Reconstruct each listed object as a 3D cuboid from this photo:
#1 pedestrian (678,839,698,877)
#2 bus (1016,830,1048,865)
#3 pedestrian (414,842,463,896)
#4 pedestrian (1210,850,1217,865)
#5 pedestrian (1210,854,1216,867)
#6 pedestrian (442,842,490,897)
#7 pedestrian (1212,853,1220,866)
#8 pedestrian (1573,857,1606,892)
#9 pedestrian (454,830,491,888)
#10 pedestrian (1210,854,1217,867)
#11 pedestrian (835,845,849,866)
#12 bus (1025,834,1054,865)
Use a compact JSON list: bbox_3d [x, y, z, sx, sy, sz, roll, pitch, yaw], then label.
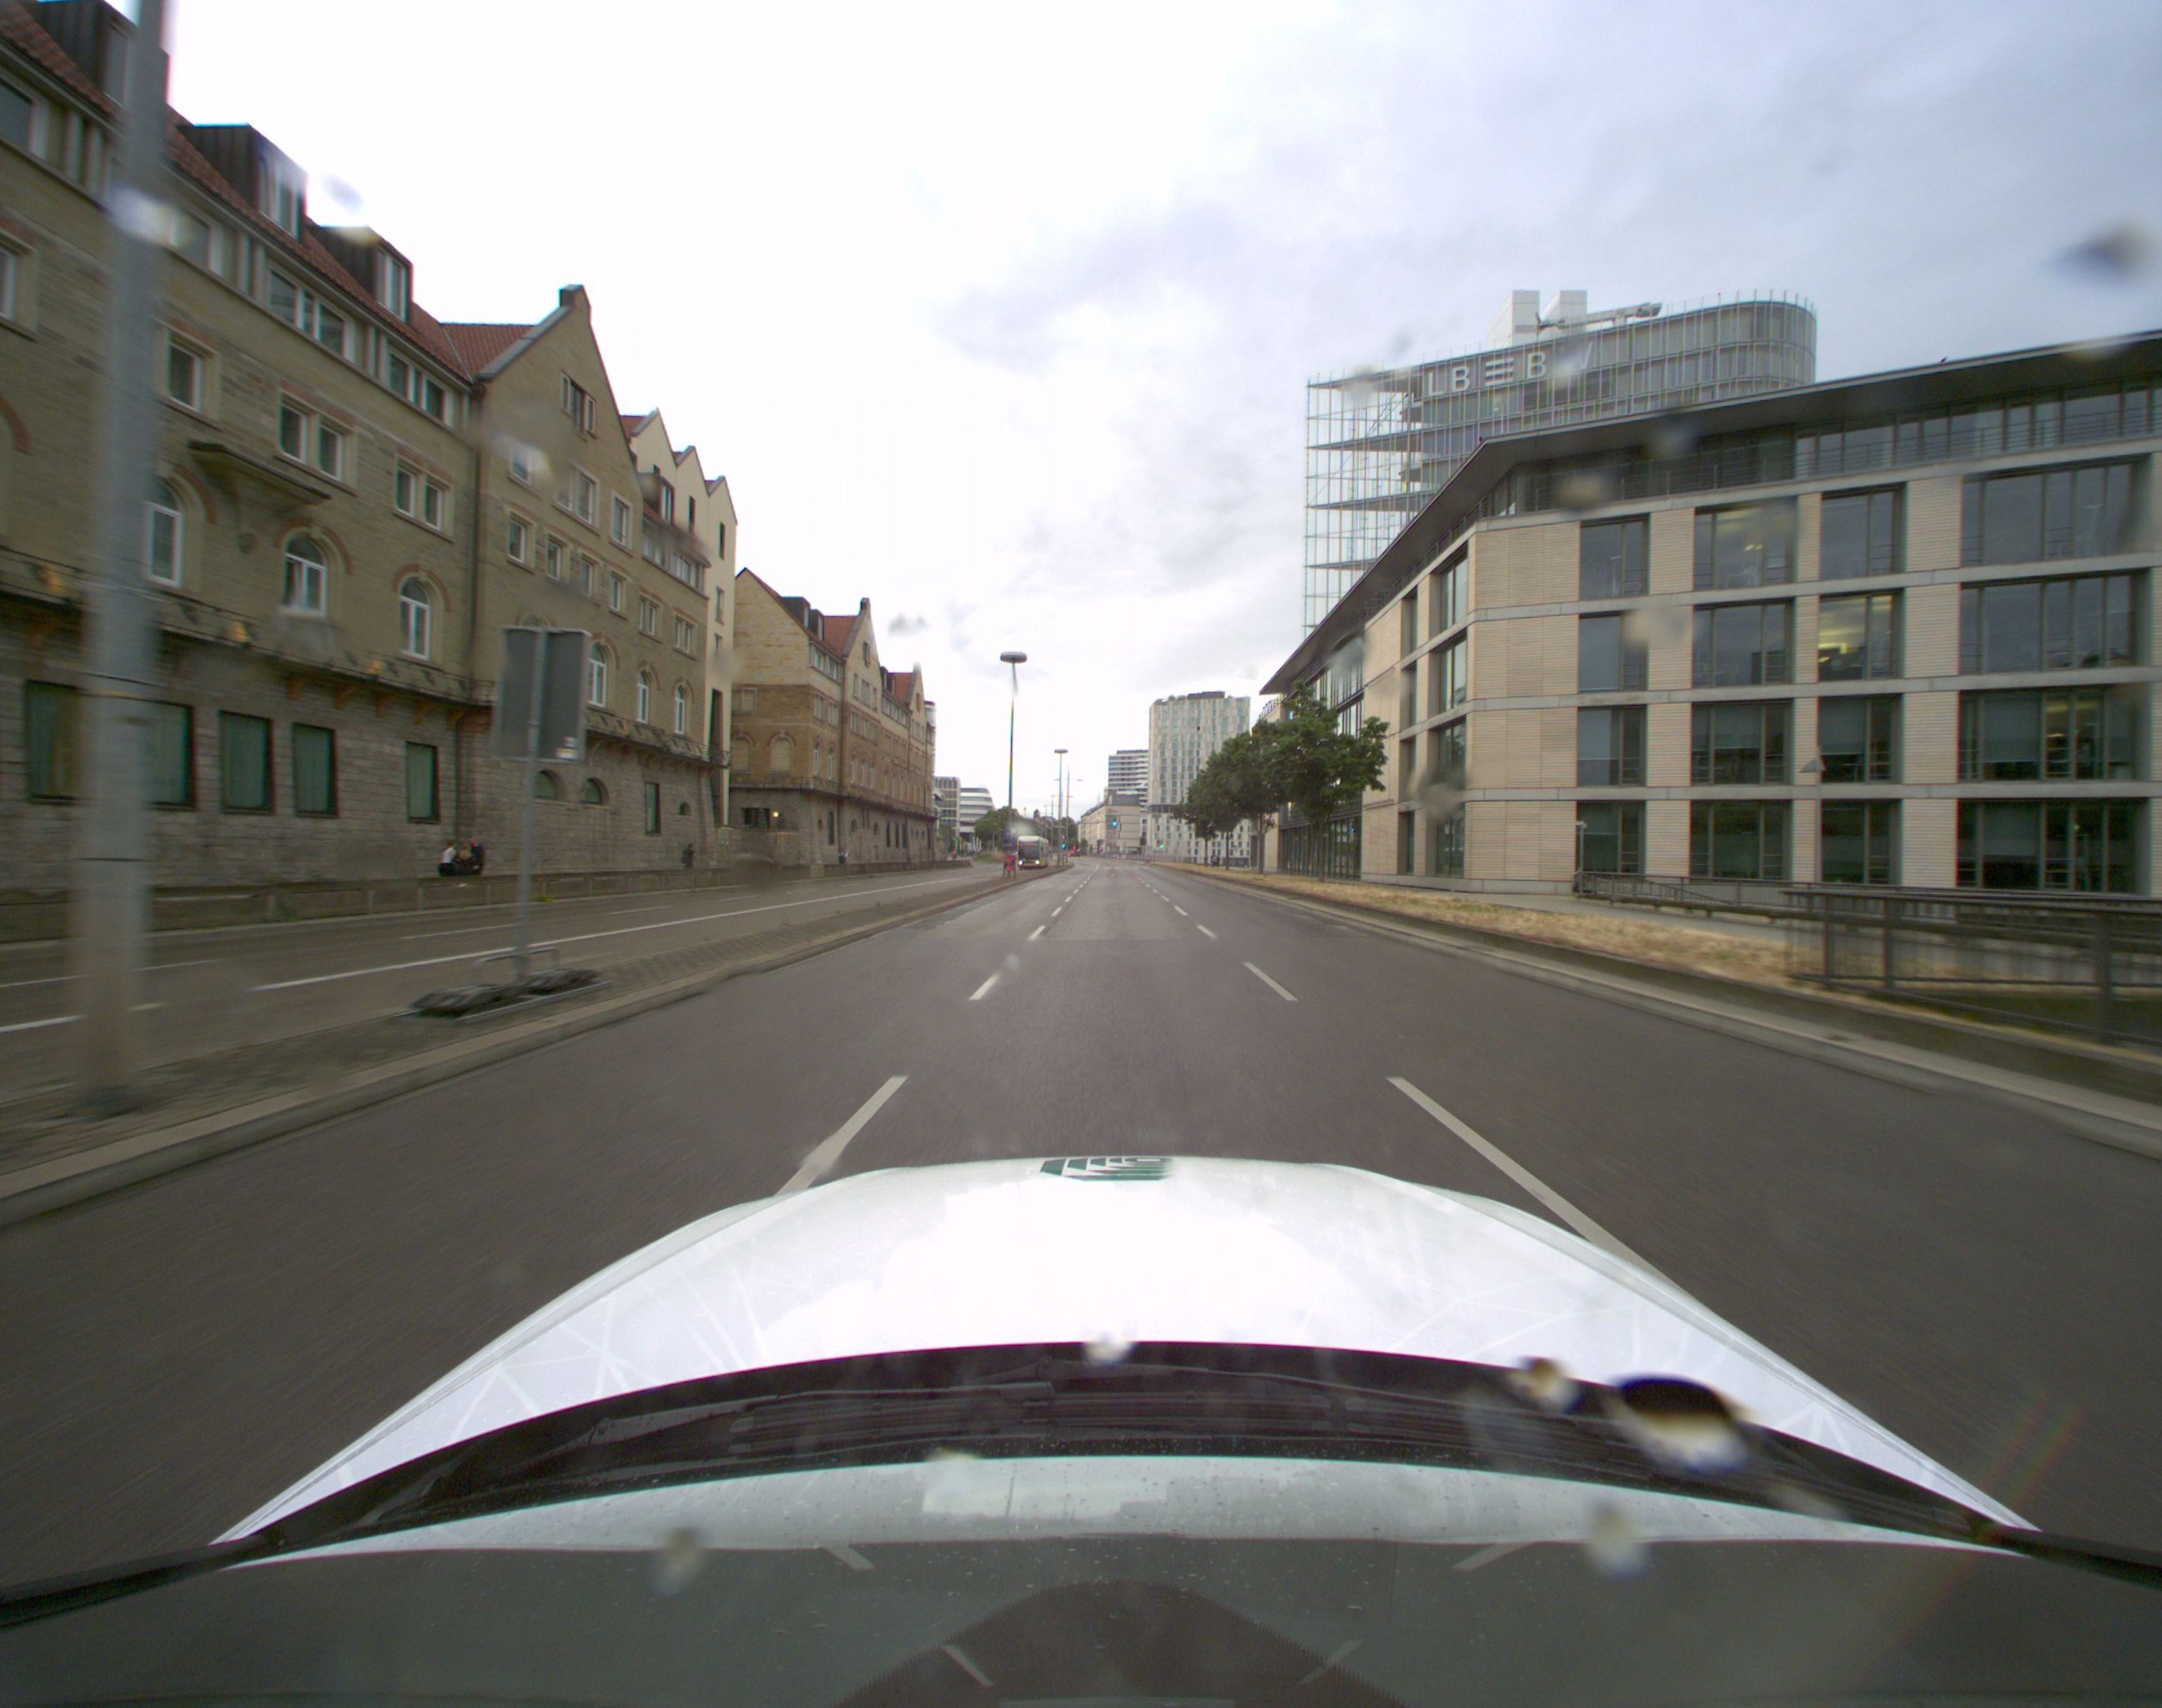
[{"bbox_3d":[-18.071,0.189,37.482,0.640,1.745,0.619,0,1,-8],"label":"pedestrian"},{"bbox_3d":[-5.226,-0.653,88.502,2.688,3.559,10.096,0,0,1],"label":"bus"},{"bbox_3d":[-17.834,0.410,22.604,0.751,1.477,0.714,0,1,1],"label":"pedestrian"},{"bbox_3d":[16.042,0.427,98.696,0.787,1.841,0.545,-1,2,-42],"label":"pedestrian"},{"bbox_3d":[16.027,0.765,98.998,0.544,1.578,0.675,1,1,36],"label":"pedestrian"},{"bbox_3d":[-17.040,0.423,22.587,0.751,1.477,0.714,0,1,1],"label":"pedestrian"},{"bbox_3d":[16.139,0.664,97.152,0.662,1.578,0.673,1,1,39],"label":"pedestrian"},{"bbox_3d":[19.507,0.777,31.248,0.868,1.340,0.974,0,-1,19],"label":"pedestrian"},{"bbox_3d":[-18.477,0.136,24.745,0.638,1.745,0.621,0,1,0],"label":"pedestrian"},{"bbox_3d":[15.663,0.767,96.384,0.544,1.578,0.675,1,1,36],"label":"pedestrian"},{"bbox_3d":[-17.070,0.119,58.240,0.751,1.477,0.714,0,1,1],"label":"pedestrian"},{"bbox_3d":[-4.942,-0.517,99.135,2.688,3.559,10.097,0,0,1],"label":"bus"}]
